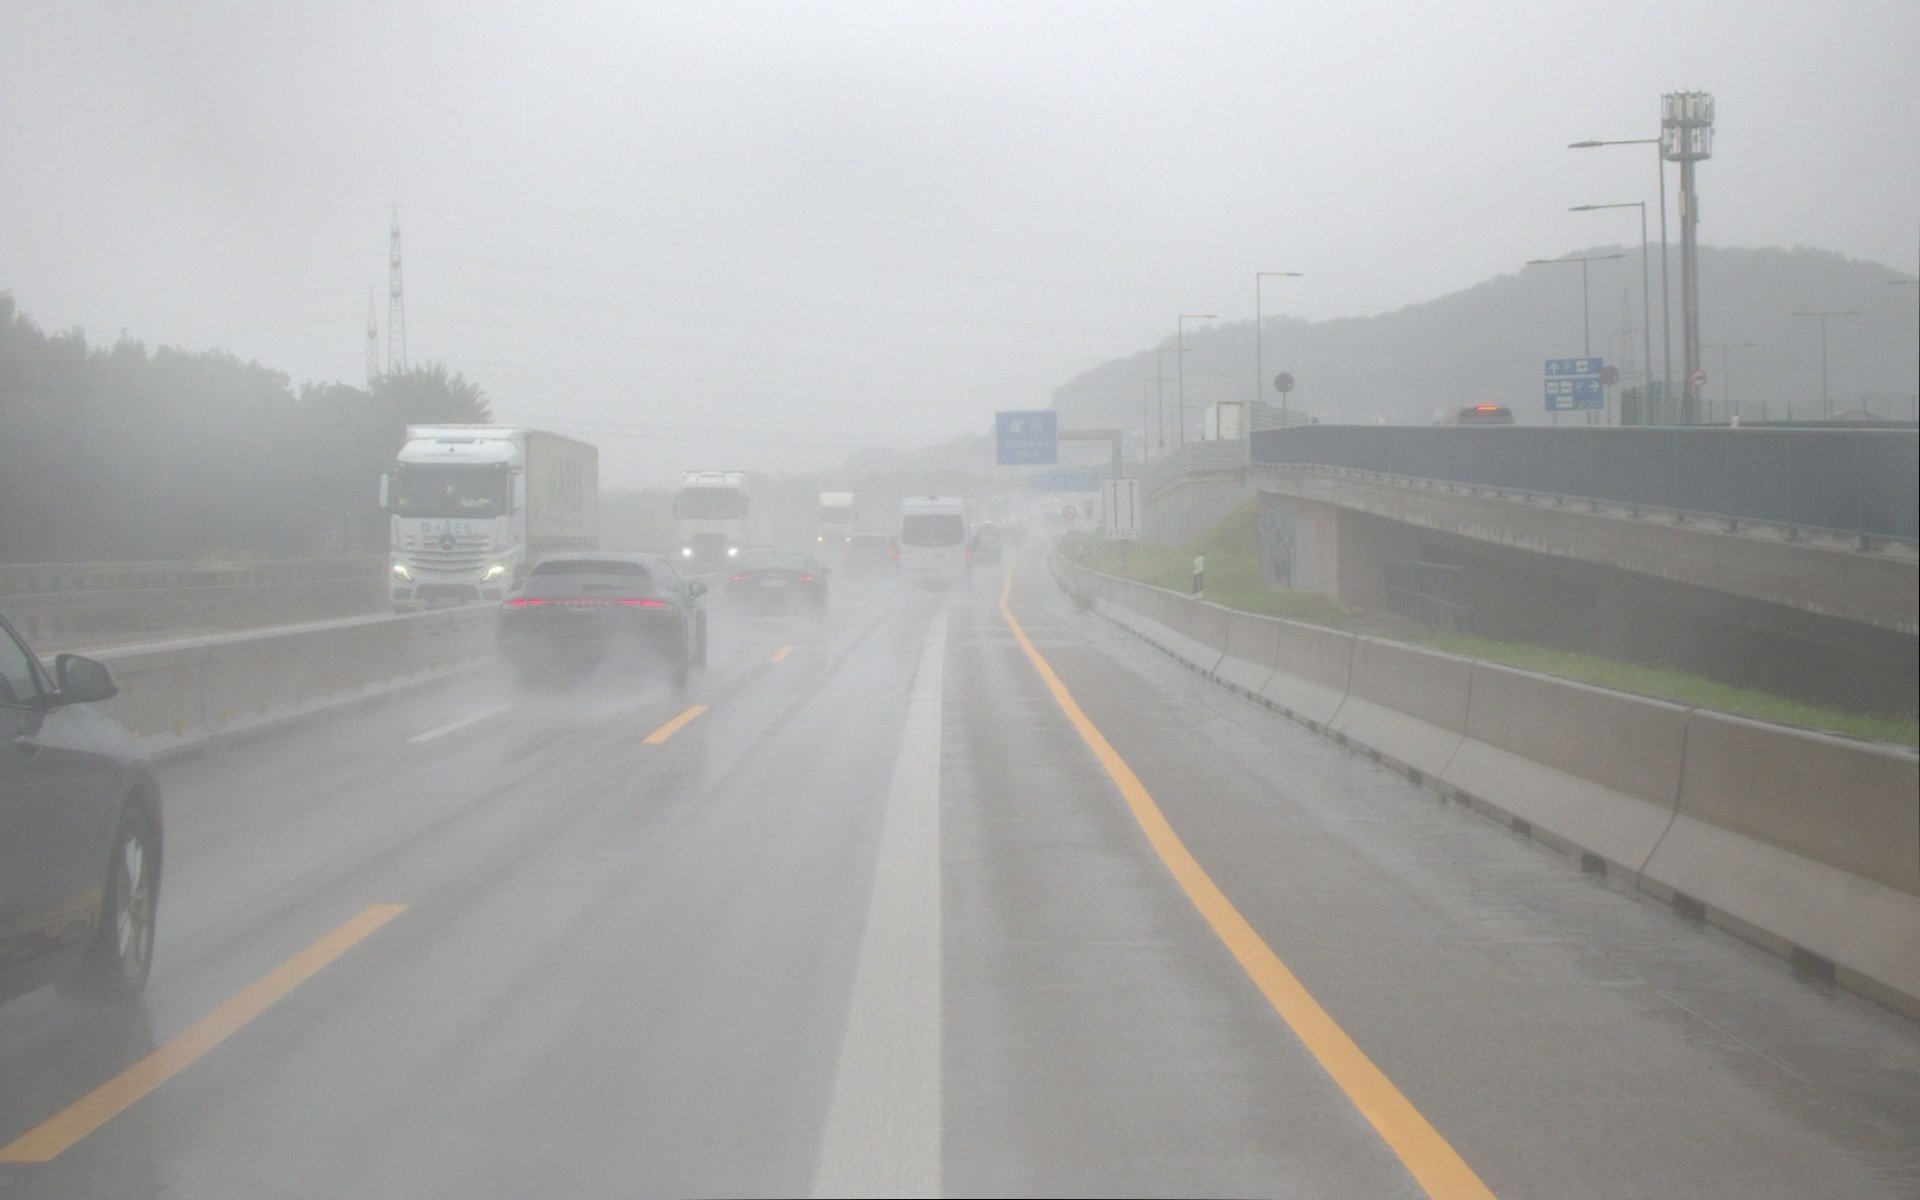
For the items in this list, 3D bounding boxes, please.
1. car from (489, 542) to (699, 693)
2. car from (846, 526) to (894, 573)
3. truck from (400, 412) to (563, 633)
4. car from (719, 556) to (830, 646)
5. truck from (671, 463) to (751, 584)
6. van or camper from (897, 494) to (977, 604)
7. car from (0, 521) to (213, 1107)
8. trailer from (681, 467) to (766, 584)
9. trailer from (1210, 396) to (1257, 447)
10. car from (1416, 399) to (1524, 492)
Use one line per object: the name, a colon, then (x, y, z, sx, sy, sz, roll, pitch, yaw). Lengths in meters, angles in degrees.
car: (-3.816, 0.169, 36.497, 1.844, 1.486, 4.262, 1, 0, -1)
car: (-3.073, -1.719, 117.595, 1.566, 1.475, 2.822, -2, 0, -1)
truck: (-10.092, -1.581, 73.106, 2.502, 4.447, 6.881, 1, 0, 0)
car: (-3.401, -0.012, 63.615, 1.844, 1.486, 4.262, -2, 2, -1)
truck: (-9.730, -2.948, 134.968, 2.560, 4.587, 6.452, 0, 0, 1)
van or camper: (-0.611, -1.291, 88.726, 1.996, 2.768, 4.050, 1, 0, -1)
car: (-3.460, 0.567, 9.779, 1.701, 1.592, 4.846, 0, 1, -1)
trailer: (-9.655, -2.960, 141.576, 2.547, 4.573, 12.009, 1, 0, 0)
trailer: (14.826, -9.646, 187.012, 1.994, 2.099, 13.767, 1, 0, 2)
car: (12.684, -3.830, 85.683, 1.993, 2.135, 4.000, 1, 0, -1)
